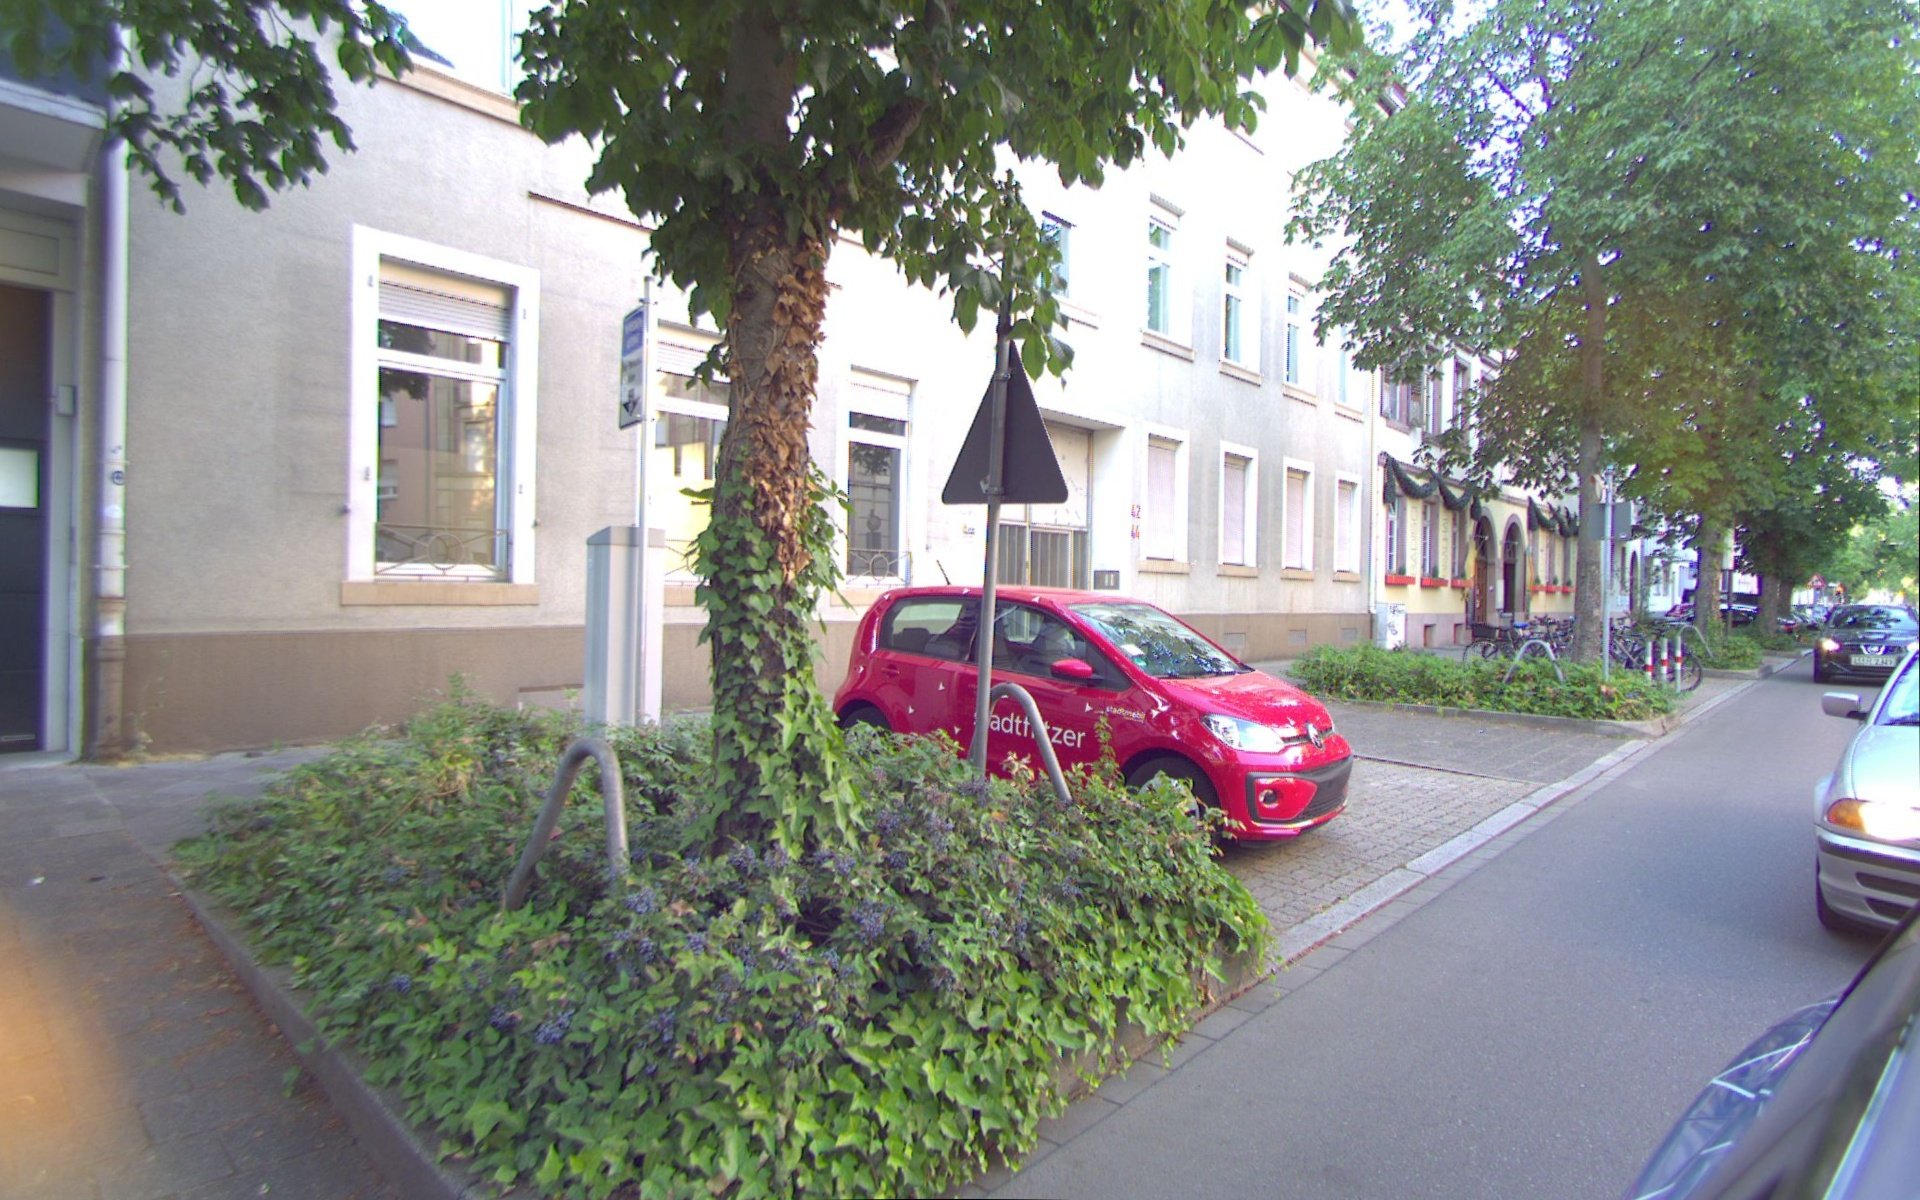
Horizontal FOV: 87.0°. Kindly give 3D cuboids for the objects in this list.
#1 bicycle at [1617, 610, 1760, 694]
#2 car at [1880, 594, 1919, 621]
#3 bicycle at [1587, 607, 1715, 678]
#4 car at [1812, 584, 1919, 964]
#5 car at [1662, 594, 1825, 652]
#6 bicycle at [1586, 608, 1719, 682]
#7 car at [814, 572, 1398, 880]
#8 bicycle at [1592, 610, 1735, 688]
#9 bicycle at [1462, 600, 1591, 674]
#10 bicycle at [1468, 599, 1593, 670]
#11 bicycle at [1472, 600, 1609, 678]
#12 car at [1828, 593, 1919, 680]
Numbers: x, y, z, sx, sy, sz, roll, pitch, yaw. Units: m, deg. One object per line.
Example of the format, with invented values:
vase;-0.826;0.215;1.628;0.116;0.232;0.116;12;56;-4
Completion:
bicycle;11.851;0.826;16.537;1.835;1.242;0.529;2;1;33
car;56.578;0.426;60.729;1.802;1.571;3.935;2;1;45
bicycle;13.470;0.804;19.770;2.019;1.242;0.528;2;1;39
car;5.698;0.685;4.922;4.358;1.460;1.710;0;1;-41
car;26.615;0.725;34.454;4.232;1.761;1.715;2;1;43
bicycle;12.989;0.813;19.016;2.019;1.242;0.528;2;1;39
car;0.806;0.584;6.820;3.608;1.495;1.639;2;1;42
bicycle;12.354;0.828;17.823;2.019;1.242;0.528;2;1;39
bicycle;10.299;0.645;18.436;2.014;1.242;0.529;2;1;33
bicycle;10.930;0.632;19.430;2.017;1.242;0.529;2;1;37
bicycle;10.083;0.653;17.626;2.014;1.242;0.529;2;1;33
car;18.784;0.676;20.310;1.802;1.571;3.935;2;1;45
